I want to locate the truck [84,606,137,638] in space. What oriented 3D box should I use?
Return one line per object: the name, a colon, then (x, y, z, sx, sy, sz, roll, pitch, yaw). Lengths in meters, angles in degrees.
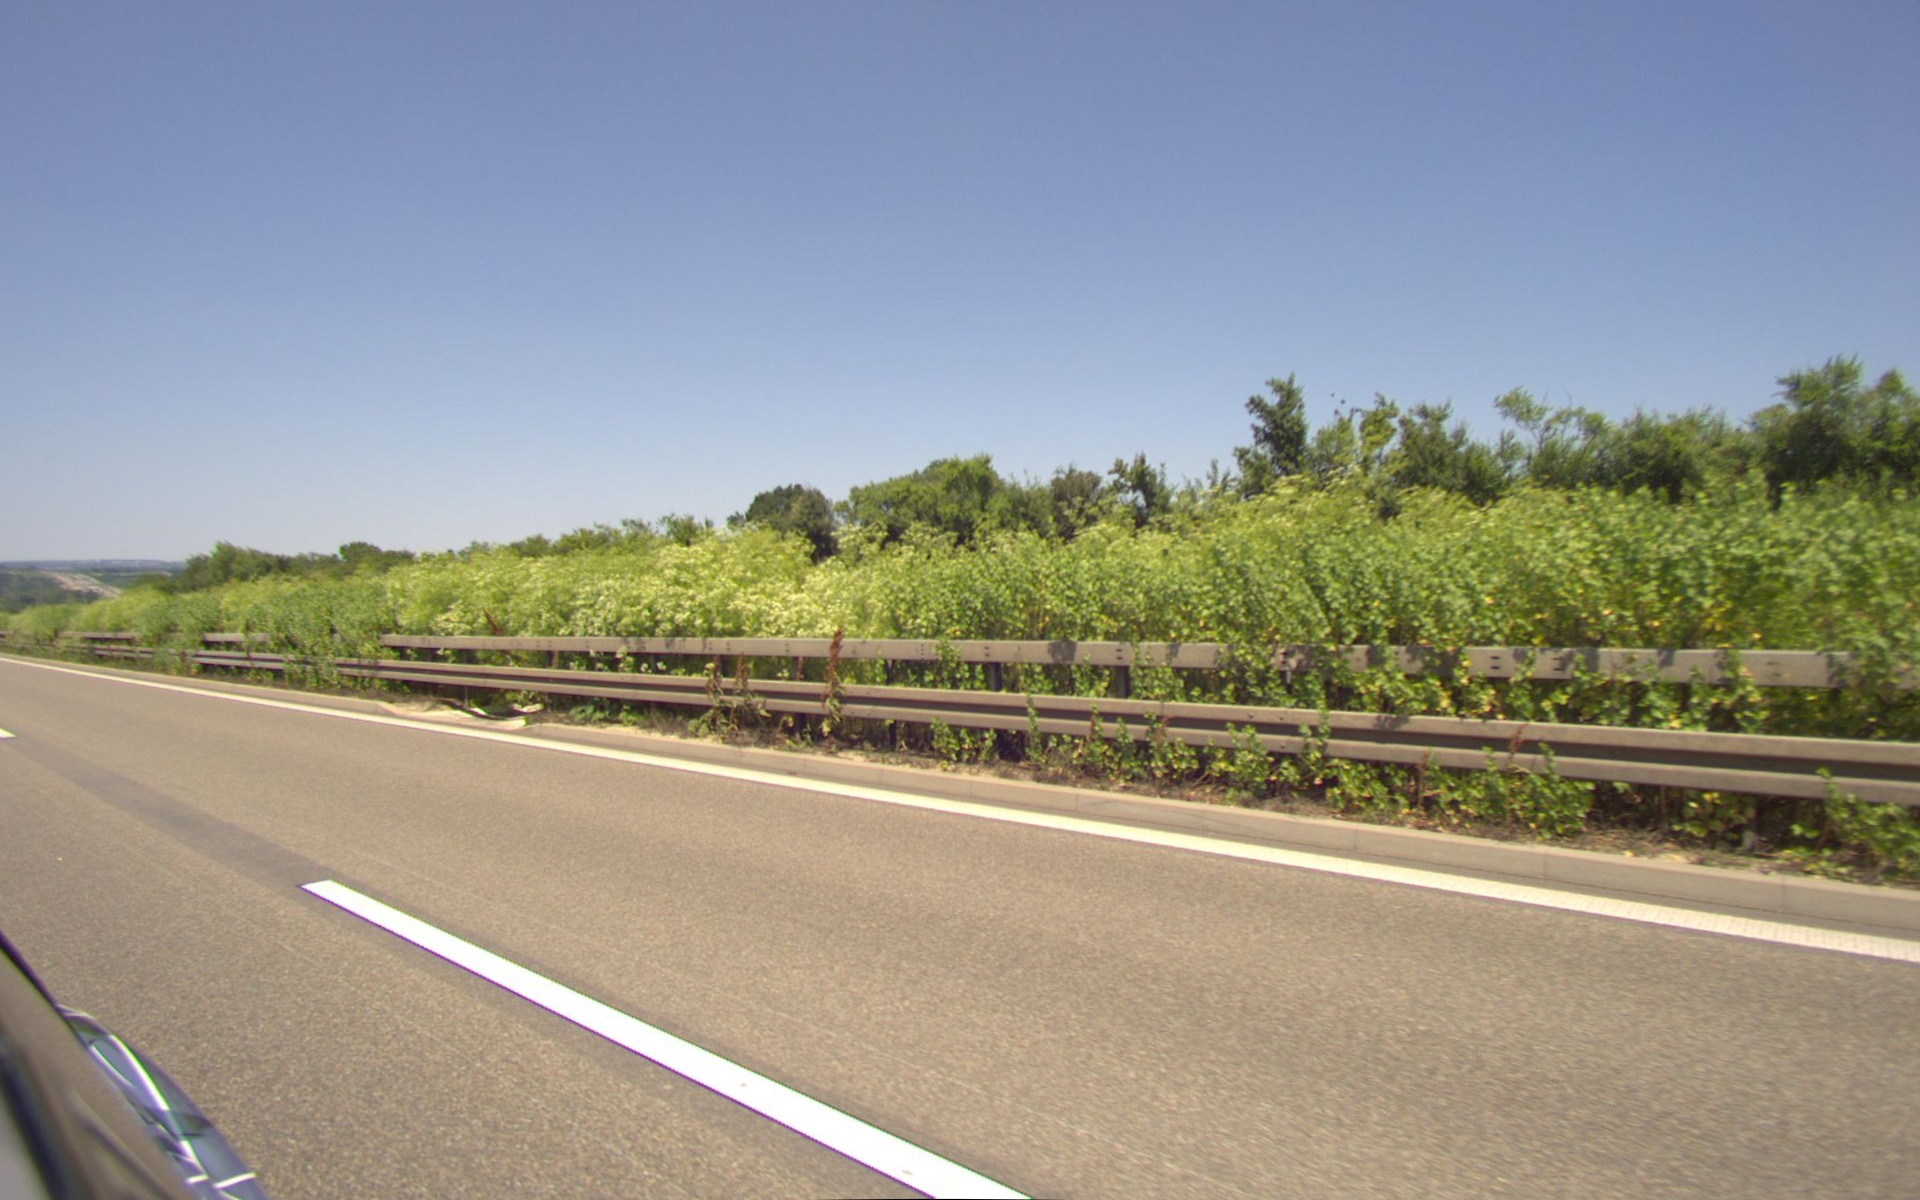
truck: (-99.665, 2.685, 118.573, 17.036, 3.545, 2.645, -2, -2, 43)
